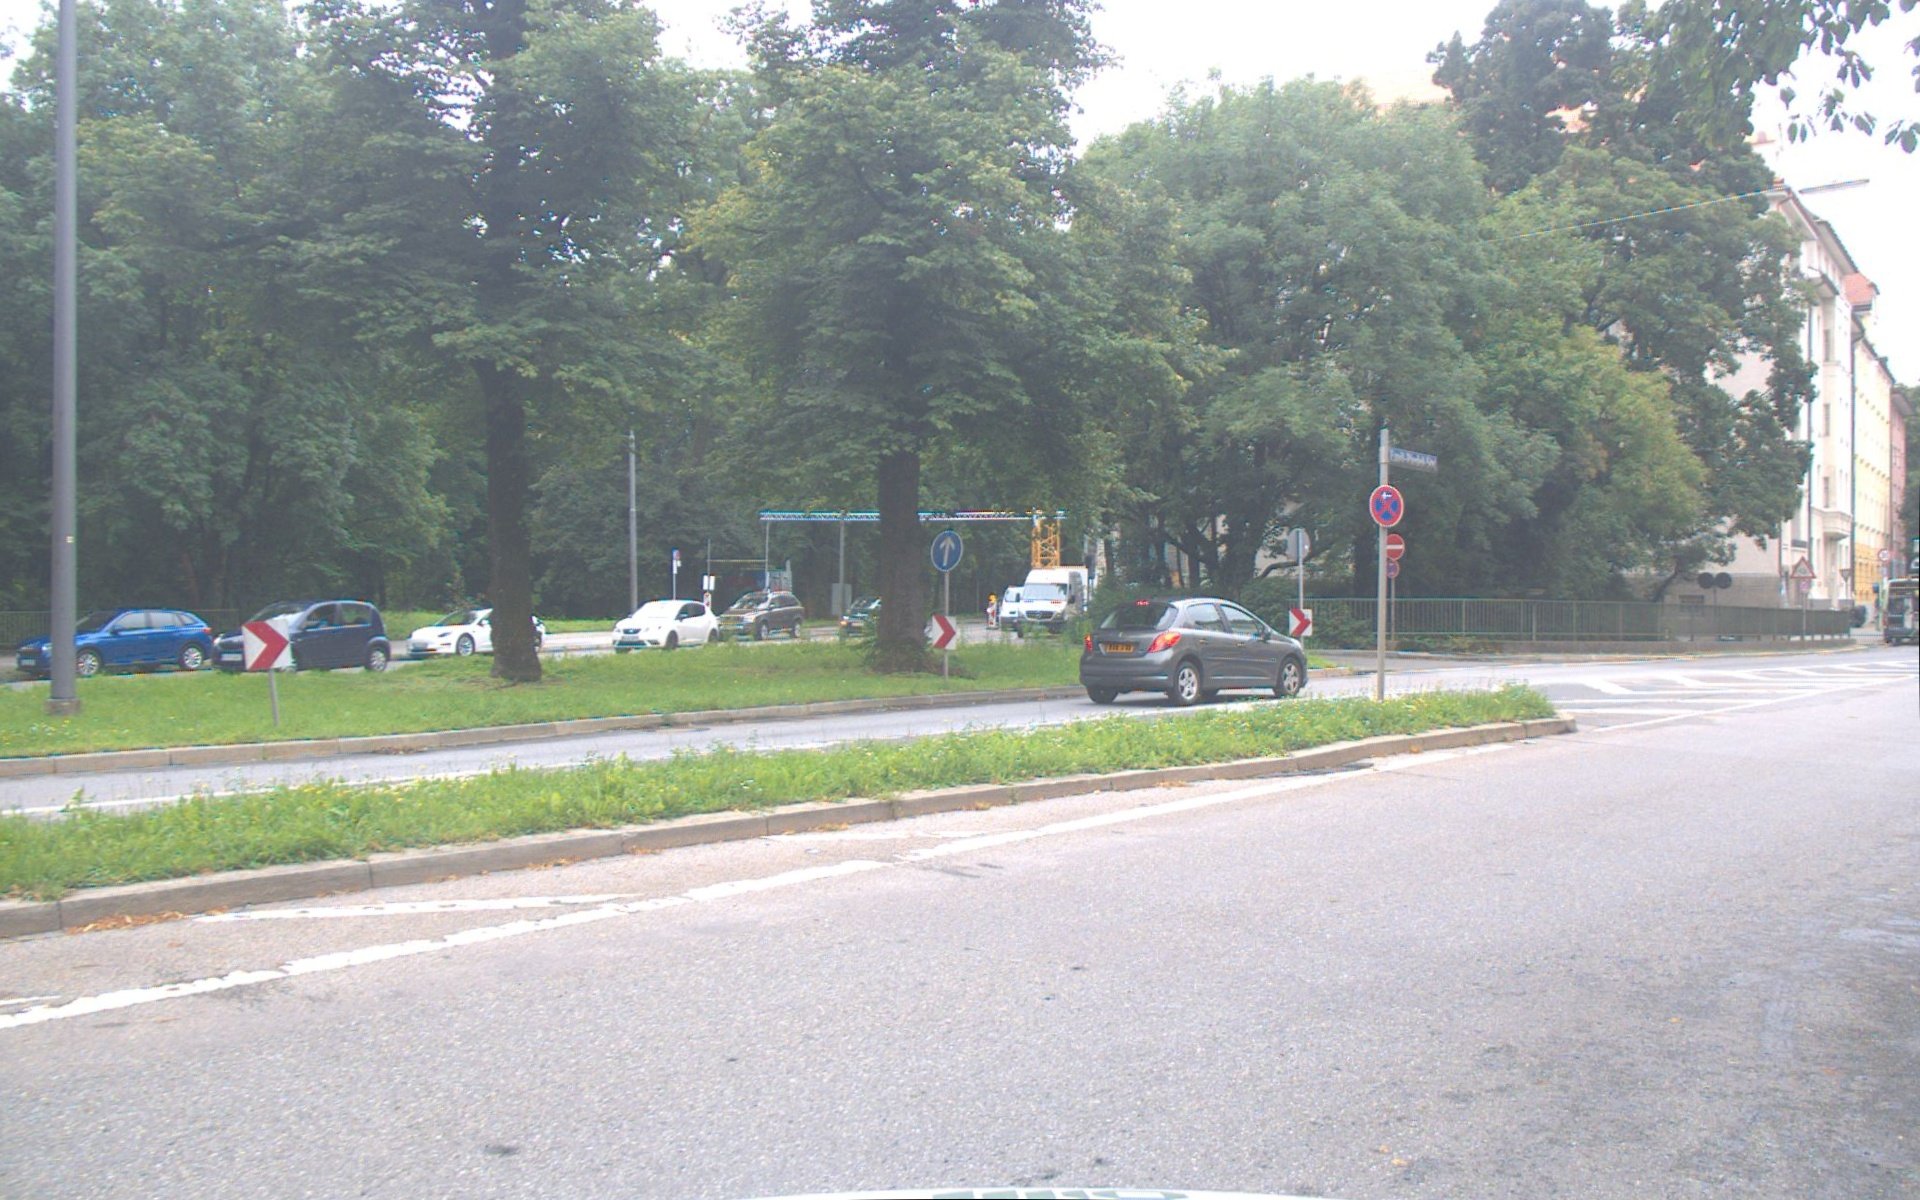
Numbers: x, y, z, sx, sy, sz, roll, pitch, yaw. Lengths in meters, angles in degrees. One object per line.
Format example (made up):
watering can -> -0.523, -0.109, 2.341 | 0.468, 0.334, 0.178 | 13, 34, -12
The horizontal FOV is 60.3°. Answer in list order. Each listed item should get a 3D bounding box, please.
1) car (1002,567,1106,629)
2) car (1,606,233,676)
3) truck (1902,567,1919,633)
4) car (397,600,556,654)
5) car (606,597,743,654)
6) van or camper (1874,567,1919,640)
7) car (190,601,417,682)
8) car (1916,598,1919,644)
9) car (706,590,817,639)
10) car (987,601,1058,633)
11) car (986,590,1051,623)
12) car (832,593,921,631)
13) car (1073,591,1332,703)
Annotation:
car -> 3.713, -0.062, 64.421 | 2.255, 2.309, 5.124 | -1, 0, 26
car -> -19.082, 0.896, 37.656 | 1.954, 1.472, 4.420 | -2, -1, 26
truck -> 45.220, -0.081, 75.972 | 2.726, 2.923, 7.177 | 0, 1, 35
car -> -13.848, 0.756, 47.628 | 1.954, 1.472, 4.420 | -2, -1, 26
car -> -7.826, 0.679, 45.701 | 1.790, 1.472, 4.236 | -1, -1, 21
van or camper -> 39.470, 0.093, 68.152 | 2.556, 2.890, 6.165 | 0, 1, 35
car -> -13.034, 0.786, 33.080 | 1.854, 1.472, 4.030 | -1, 0, 26
car -> 32.802, 0.619, 54.193 | 1.958, 1.454, 4.884 | 0, 1, 38
car -> -7.451, 0.545, 62.508 | 1.954, 1.748, 4.644 | -2, -1, 26
car -> 3.082, 0.810, 80.772 | 1.854, 1.472, 4.385 | -1, 0, 26
car -> 2.692, 0.288, 75.351 | 1.851, 1.472, 4.301 | -1, 0, 18
car -> -3.297, 0.457, 66.270 | 1.854, 1.472, 4.030 | -1, 0, 26
car -> 3.575, 0.626, 23.938 | 1.734, 1.486, 4.047 | -1, 0, 43
